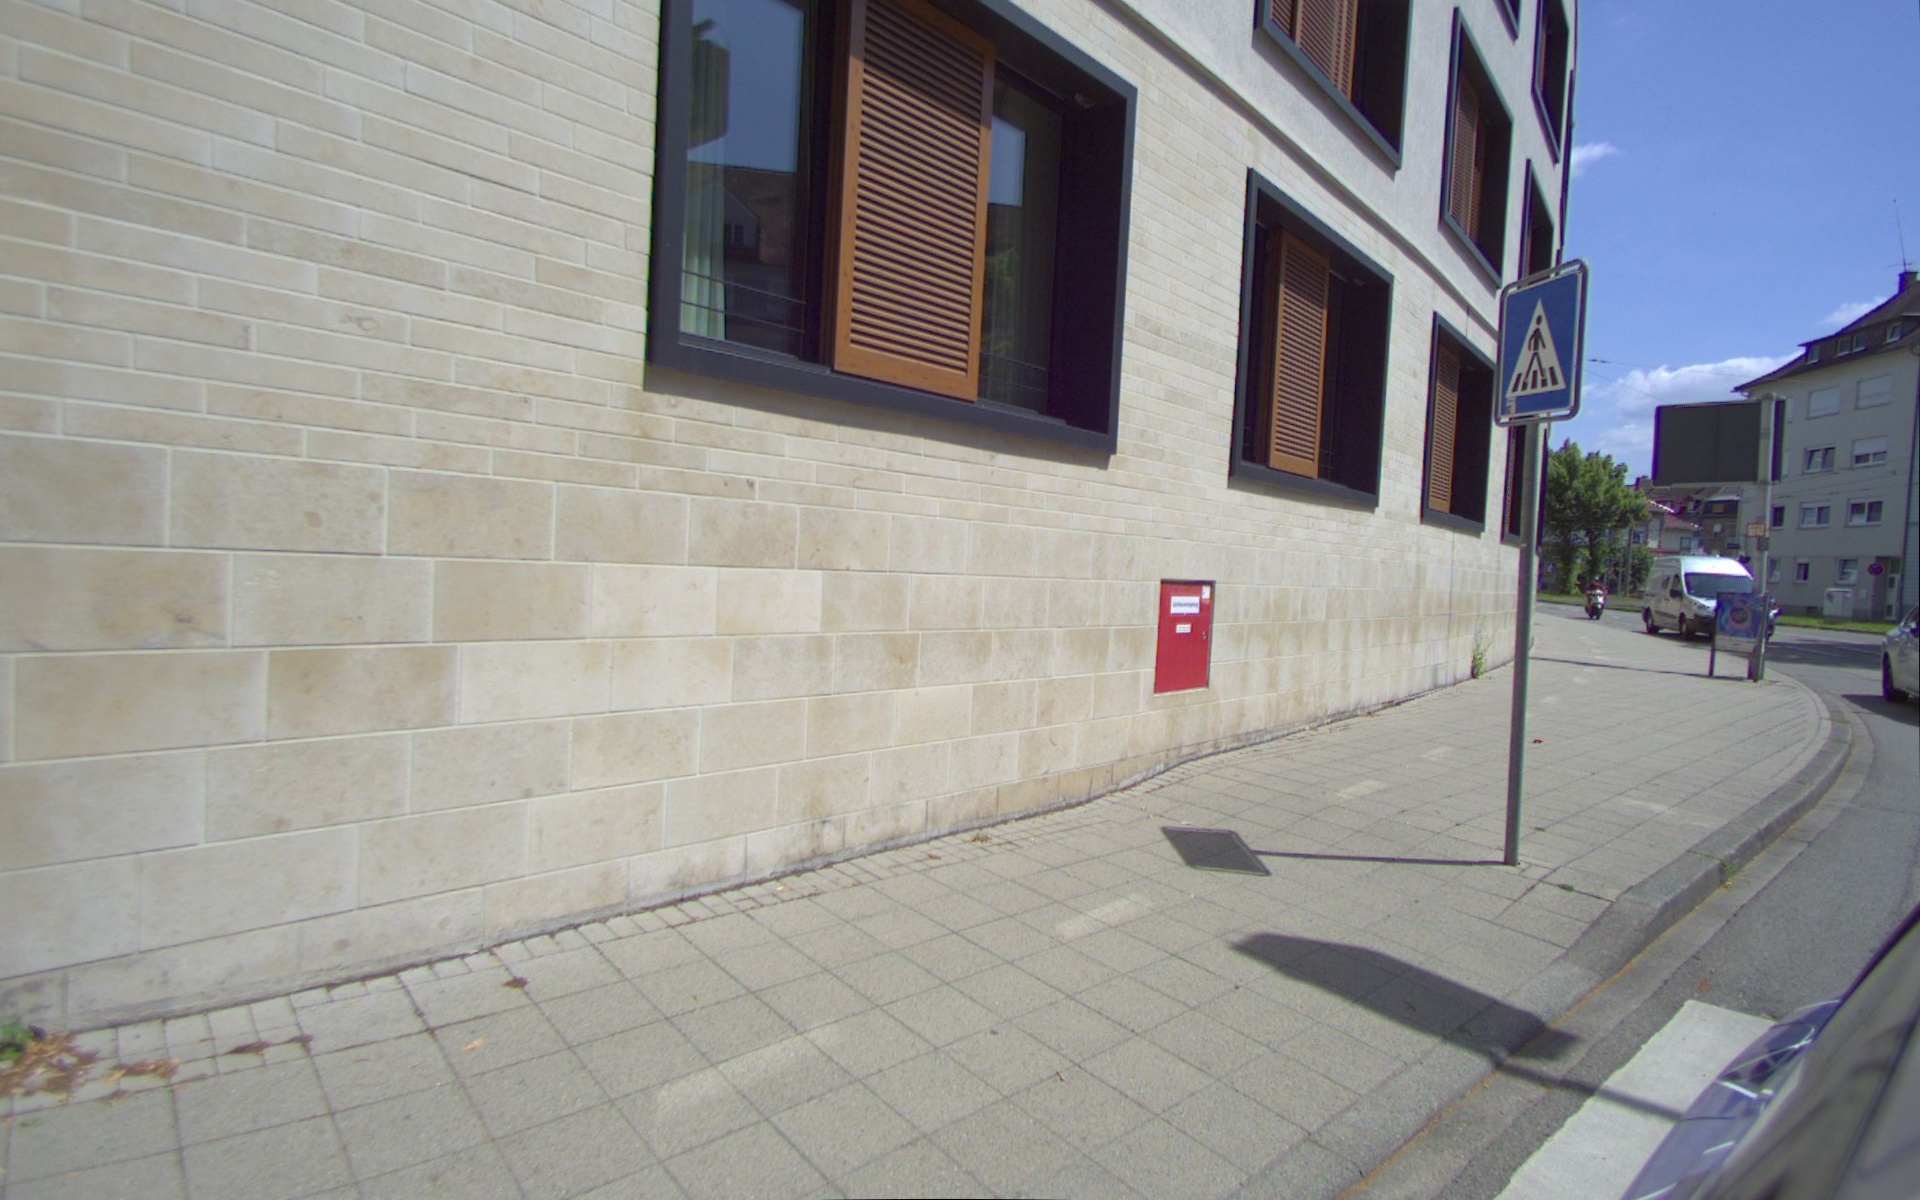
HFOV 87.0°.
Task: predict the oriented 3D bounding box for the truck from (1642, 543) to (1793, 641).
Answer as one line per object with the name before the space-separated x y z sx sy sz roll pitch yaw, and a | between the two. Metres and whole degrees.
truck | 20.133 -0.322 27.173 2.001 2.276 5.364 4 4 25

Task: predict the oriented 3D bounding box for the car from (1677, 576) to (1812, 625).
car | 28.377 -0.038 36.804 1.713 1.506 4.403 2 3 5

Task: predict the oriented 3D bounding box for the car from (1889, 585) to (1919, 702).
car | 12.747 0.574 12.063 1.790 1.484 4.121 1 1 33

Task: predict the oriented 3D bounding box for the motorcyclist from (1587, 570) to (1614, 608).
motorcyclist | 23.781 -0.420 37.585 0.728 1.353 1.159 2 2 28

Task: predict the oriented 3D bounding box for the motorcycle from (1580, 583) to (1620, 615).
motorcycle | 23.708 -0.068 37.528 1.048 1.093 2.591 3 2 28
